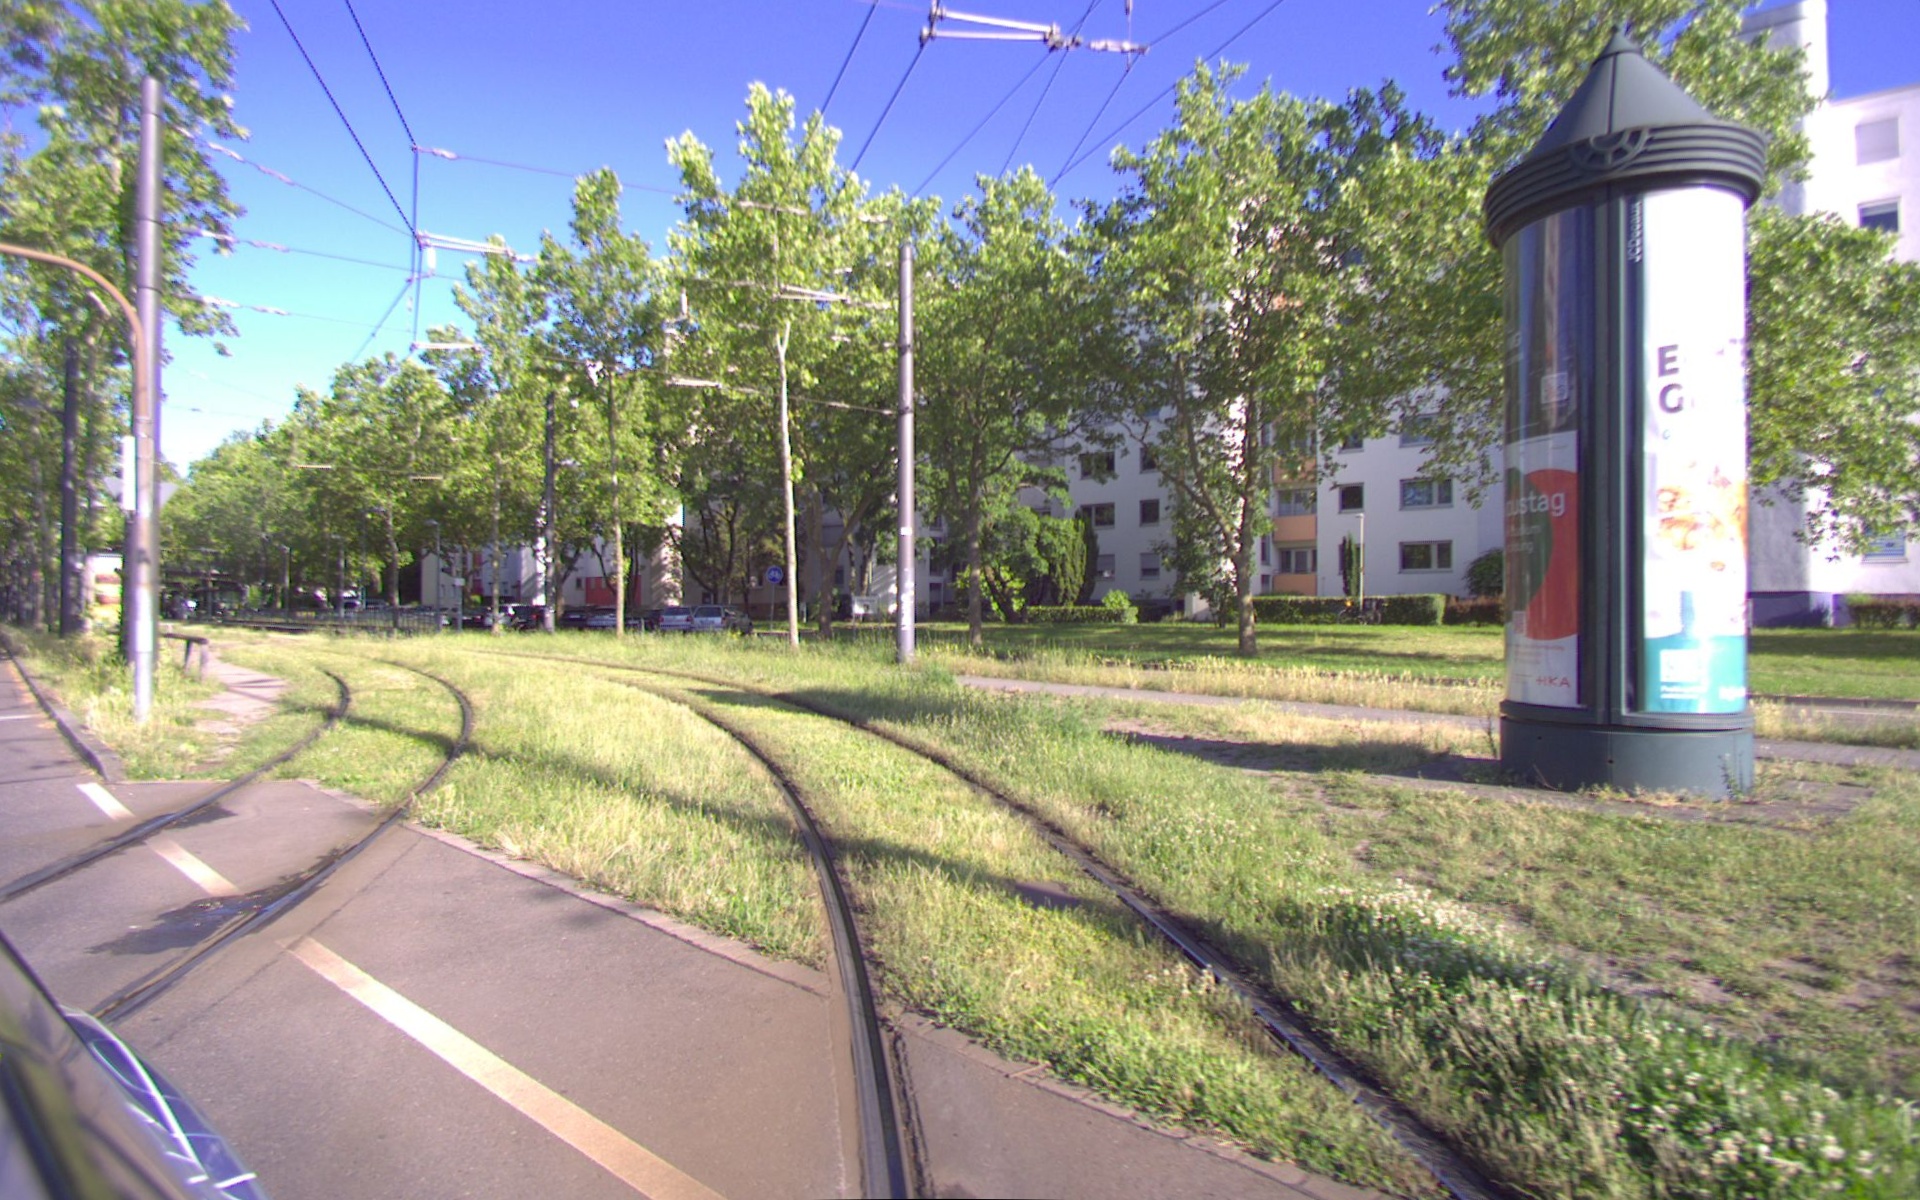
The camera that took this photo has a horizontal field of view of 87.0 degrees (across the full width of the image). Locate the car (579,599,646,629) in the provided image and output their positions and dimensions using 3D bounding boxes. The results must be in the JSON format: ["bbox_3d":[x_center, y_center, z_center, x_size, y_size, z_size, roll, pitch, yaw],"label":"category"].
[{"bbox_3d":[-17.250,0.673,50.464,1.772,1.398,4.045,-1,0,3],"label":"car"}]

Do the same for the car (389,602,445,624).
[{"bbox_3d":[-39.429,0.957,73.591,1.771,1.510,4.047,-1,0,2],"label":"car"}]

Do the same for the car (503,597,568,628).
[{"bbox_3d":[-24.258,0.665,57.967,1.773,1.676,4.043,-1,0,5],"label":"car"}]

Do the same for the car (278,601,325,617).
[{"bbox_3d":[-63.737,0.839,98.026,1.771,1.510,4.047,-1,0,2],"label":"car"}]

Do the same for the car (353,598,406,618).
[{"bbox_3d":[-45.953,0.624,80.136,1.771,1.510,4.047,-1,0,2],"label":"car"}]

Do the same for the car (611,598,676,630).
[{"bbox_3d":[-14.915,0.626,47.897,1.655,1.398,4.045,-1,0,3],"label":"car"}]

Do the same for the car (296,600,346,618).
[{"bbox_3d":[-57.060,0.794,90.471,1.771,1.510,4.047,-1,0,2],"label":"car"}]

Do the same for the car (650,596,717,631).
[{"bbox_3d":[-12.543,0.603,46.175,1.741,1.498,4.045,-1,0,3],"label":"car"}]

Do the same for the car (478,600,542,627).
[{"bbox_3d":[-26.803,0.763,60.375,1.773,1.510,4.043,-1,0,5],"label":"car"}]

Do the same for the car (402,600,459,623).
[{"bbox_3d":[-37.222,0.780,71.275,1.771,1.510,4.047,-1,0,2],"label":"car"}]

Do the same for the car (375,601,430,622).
[{"bbox_3d":[-41.473,0.834,75.438,1.771,1.510,4.047,-1,0,2],"label":"car"}]

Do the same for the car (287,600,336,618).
[{"bbox_3d":[-59.446,0.814,92.865,1.771,1.510,4.047,-1,0,2],"label":"car"}]

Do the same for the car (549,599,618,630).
[{"bbox_3d":[-19.514,0.723,52.611,1.773,1.510,4.043,-1,0,5],"label":"car"}]

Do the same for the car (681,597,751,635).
[{"bbox_3d":[-10.325,0.643,43.102,1.791,1.498,4.045,-1,0,3],"label":"car"}]

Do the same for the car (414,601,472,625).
[{"bbox_3d":[-34.825,0.844,68.252,1.771,1.510,4.047,-1,0,2],"label":"car"}]

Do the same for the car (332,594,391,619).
[{"bbox_3d":[-48.320,0.543,81.828,1.994,1.933,4.429,-1,0,2],"label":"car"}]

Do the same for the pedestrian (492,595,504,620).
[{"bbox_3d":[-37.868,0.578,83.000,0.645,2.029,0.672,0,0,41],"label":"pedestrian"}]

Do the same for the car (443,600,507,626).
[{"bbox_3d":[-29.964,0.762,62.680,1.773,1.510,4.043,-1,0,5],"label":"car"}]

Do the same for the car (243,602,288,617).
[{"bbox_3d":[-71.750,0.934,104.580,1.771,1.510,4.047,-1,0,2],"label":"car"}]
